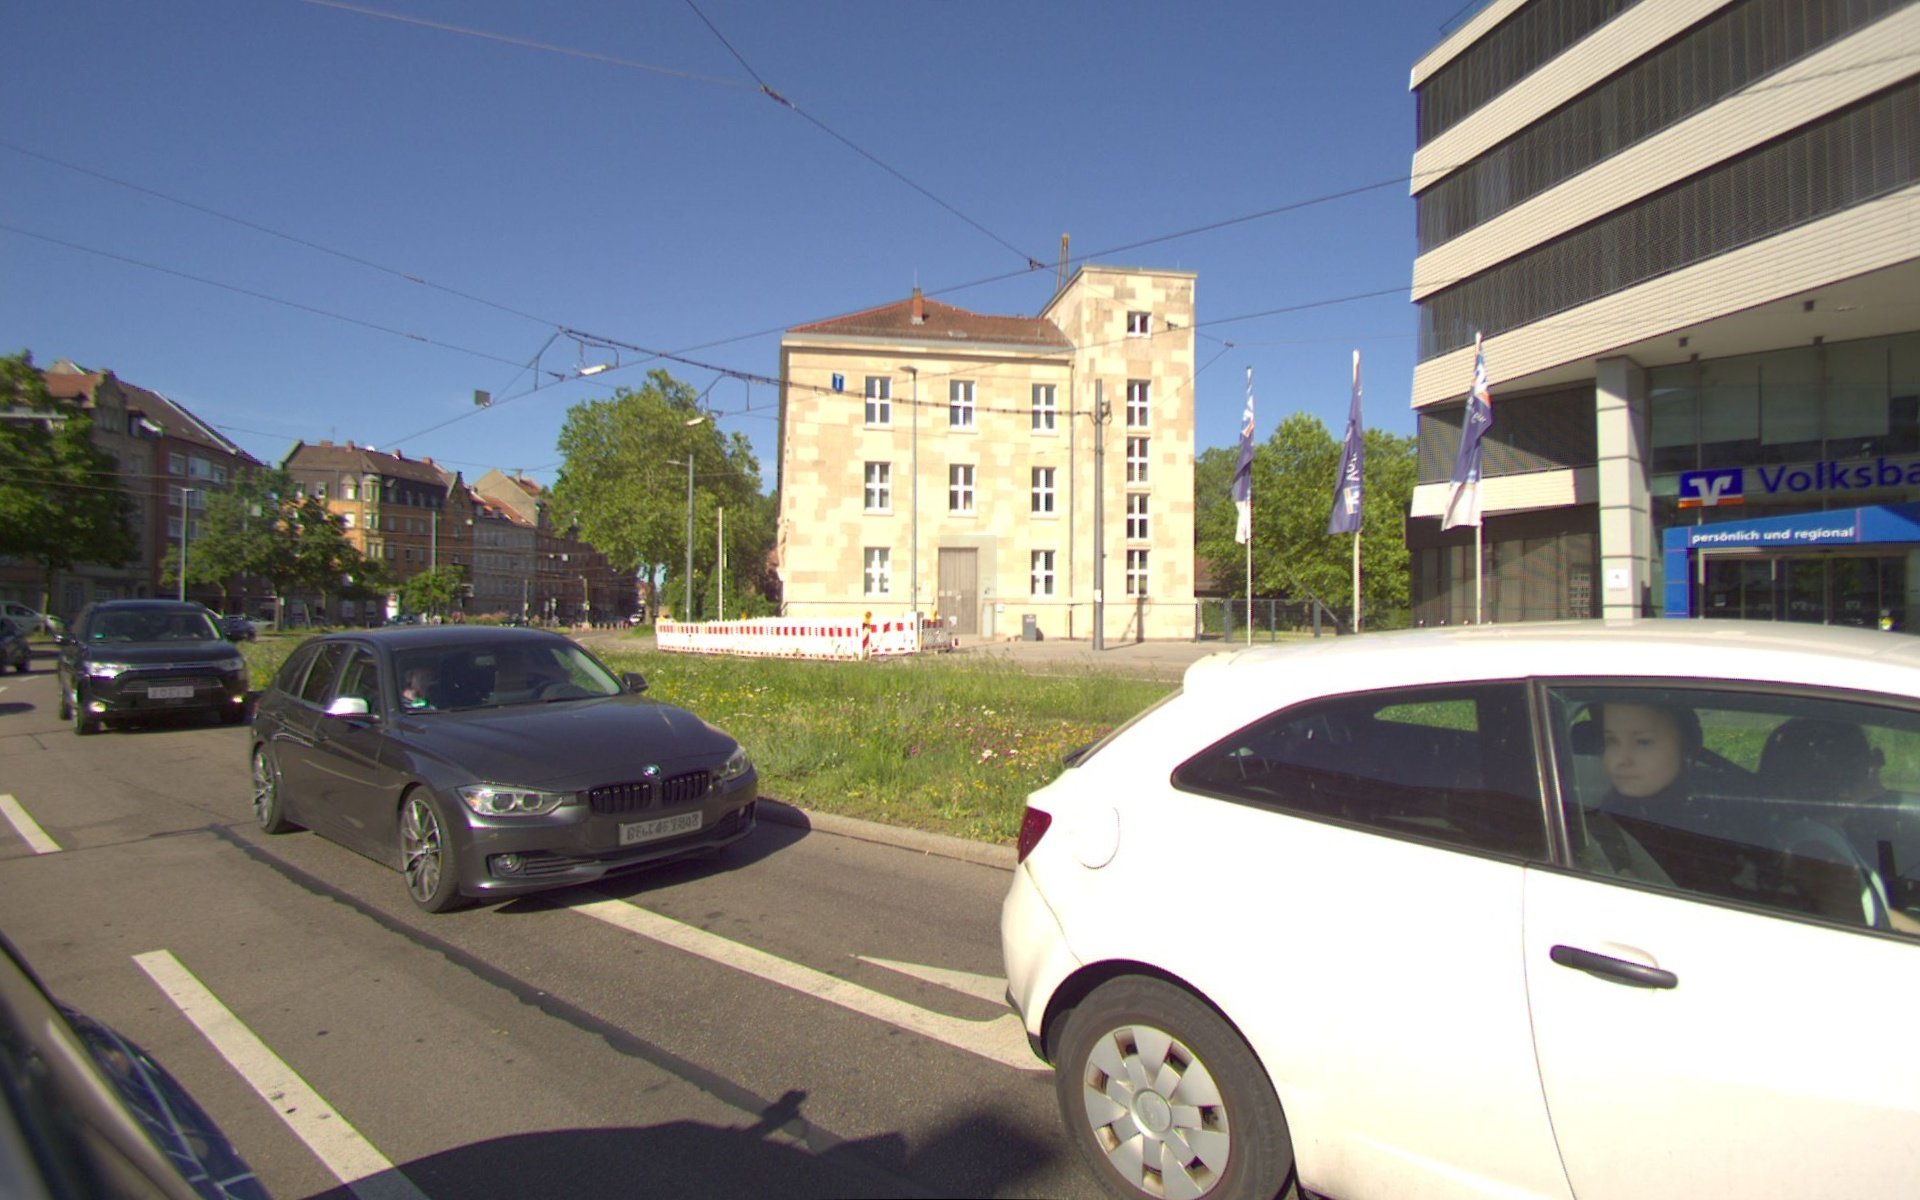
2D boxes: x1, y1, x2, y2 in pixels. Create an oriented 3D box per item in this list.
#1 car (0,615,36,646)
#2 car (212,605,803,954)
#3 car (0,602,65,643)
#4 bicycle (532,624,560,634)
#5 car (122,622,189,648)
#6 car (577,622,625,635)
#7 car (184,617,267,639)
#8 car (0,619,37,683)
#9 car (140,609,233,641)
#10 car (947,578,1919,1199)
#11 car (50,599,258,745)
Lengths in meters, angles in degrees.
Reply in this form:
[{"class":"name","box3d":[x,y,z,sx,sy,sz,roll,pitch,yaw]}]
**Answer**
[{"class":"car","box3d":[-48.397,1.460,50.010,3.970,1.490,1.814,4,-2,-44]},{"class":"car","box3d":[-3.134,0.811,6.476,4.465,1.434,1.716,-1,1,41]},{"class":"car","box3d":[-49.819,1.140,52.346,5.105,2.028,2.104,3,-2,-40]},{"class":"bicycle","box3d":[-60.156,4.177,147.108,1.940,1.427,6.837,0,-1,-7]},{"class":"car","box3d":[-63.245,2.690,79.645,1.970,1.484,4.498,-9,3,-8]},{"class":"car","box3d":[-42.141,3.338,118.876,4.894,1.464,1.834,1,-2,2]},{"class":"car","box3d":[-55.364,2.123,76.368,4.807,1.446,2.022,4,-3,-44]},{"class":"car","box3d":[-25.810,1.309,26.144,1.966,1.629,4.276,1,-1,-29]},{"class":"car","box3d":[-53.318,1.756,69.839,2.022,2.091,4.809,-1,-3,45]},{"class":"car","box3d":[1.931,0.690,1.975,3.780,1.434,1.615,-1,1,41]},{"class":"car","box3d":[-11.323,0.880,14.087,1.815,1.695,4.646,0,-1,-44]}]
